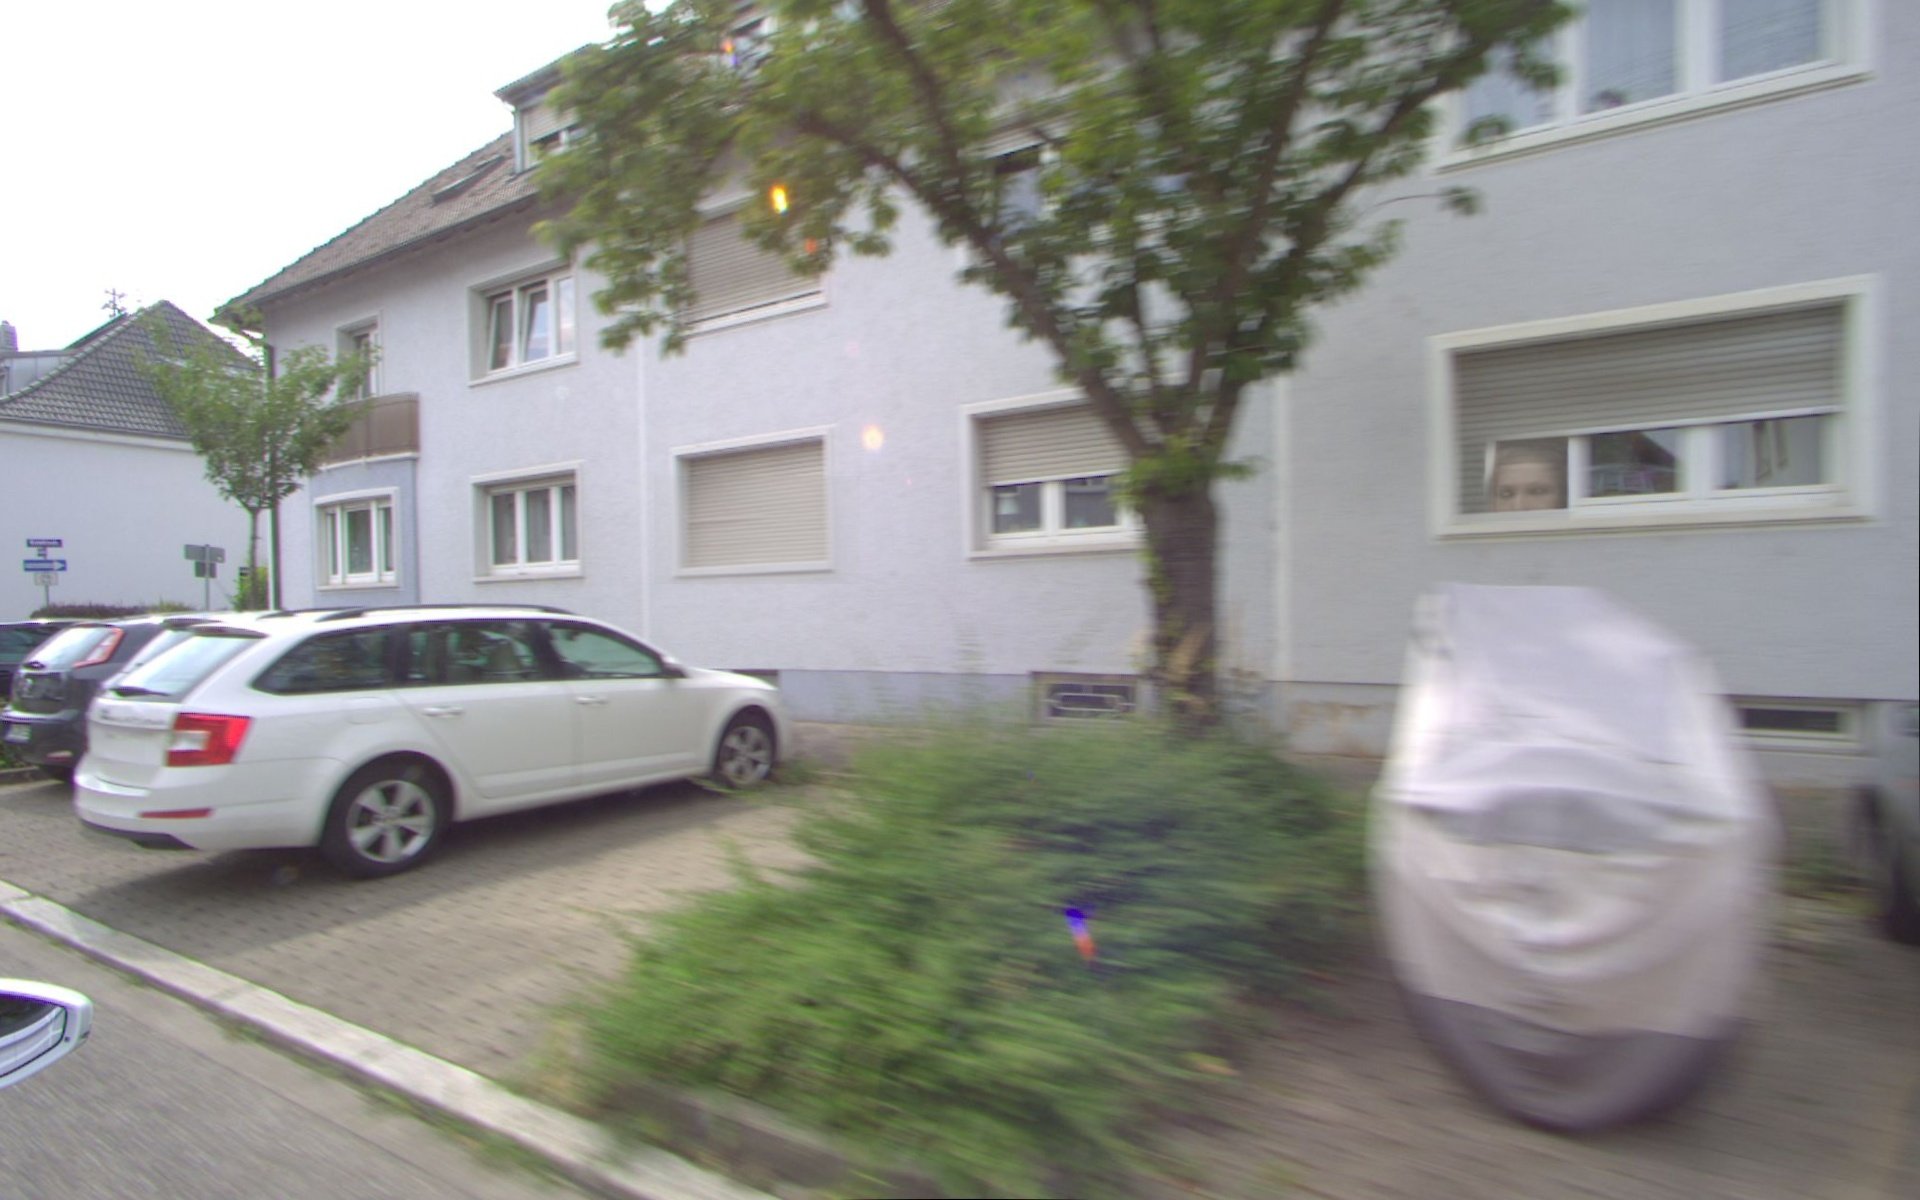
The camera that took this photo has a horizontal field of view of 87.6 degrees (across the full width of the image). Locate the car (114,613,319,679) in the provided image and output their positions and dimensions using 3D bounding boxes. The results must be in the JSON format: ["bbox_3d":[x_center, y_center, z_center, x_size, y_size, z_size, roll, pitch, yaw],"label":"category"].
[{"bbox_3d":[-18.573,1.093,25.161,1.640,1.462,3.793,-1,0,32],"label":"car"}]

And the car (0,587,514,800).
[{"bbox_3d":[-6.728,0.712,9.833,1.688,1.528,3.976,-1,2,32],"label":"car"}]

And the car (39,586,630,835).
[{"bbox_3d":[-5.075,0.721,8.713,1.688,1.528,3.976,-1,2,32],"label":"car"}]

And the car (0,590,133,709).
[{"bbox_3d":[-14.730,0.766,14.431,1.842,1.655,3.912,-1,2,33],"label":"car"}]

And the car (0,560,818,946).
[{"bbox_3d":[-3.229,0.622,6.879,1.866,1.686,4.601,-1,2,33],"label":"car"}]

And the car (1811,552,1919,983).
[{"bbox_3d":[3.829,0.585,2.589,1.746,1.474,3.619,-1,2,28],"label":"car"}]

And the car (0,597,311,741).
[{"bbox_3d":[-10.472,0.772,12.158,1.688,1.441,3.976,-1,2,32],"label":"car"}]

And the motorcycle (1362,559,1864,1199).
[{"bbox_3d":[2.160,0.653,3.615,1.015,1.483,2.698,-1,0,28],"label":"motorcycle"}]
